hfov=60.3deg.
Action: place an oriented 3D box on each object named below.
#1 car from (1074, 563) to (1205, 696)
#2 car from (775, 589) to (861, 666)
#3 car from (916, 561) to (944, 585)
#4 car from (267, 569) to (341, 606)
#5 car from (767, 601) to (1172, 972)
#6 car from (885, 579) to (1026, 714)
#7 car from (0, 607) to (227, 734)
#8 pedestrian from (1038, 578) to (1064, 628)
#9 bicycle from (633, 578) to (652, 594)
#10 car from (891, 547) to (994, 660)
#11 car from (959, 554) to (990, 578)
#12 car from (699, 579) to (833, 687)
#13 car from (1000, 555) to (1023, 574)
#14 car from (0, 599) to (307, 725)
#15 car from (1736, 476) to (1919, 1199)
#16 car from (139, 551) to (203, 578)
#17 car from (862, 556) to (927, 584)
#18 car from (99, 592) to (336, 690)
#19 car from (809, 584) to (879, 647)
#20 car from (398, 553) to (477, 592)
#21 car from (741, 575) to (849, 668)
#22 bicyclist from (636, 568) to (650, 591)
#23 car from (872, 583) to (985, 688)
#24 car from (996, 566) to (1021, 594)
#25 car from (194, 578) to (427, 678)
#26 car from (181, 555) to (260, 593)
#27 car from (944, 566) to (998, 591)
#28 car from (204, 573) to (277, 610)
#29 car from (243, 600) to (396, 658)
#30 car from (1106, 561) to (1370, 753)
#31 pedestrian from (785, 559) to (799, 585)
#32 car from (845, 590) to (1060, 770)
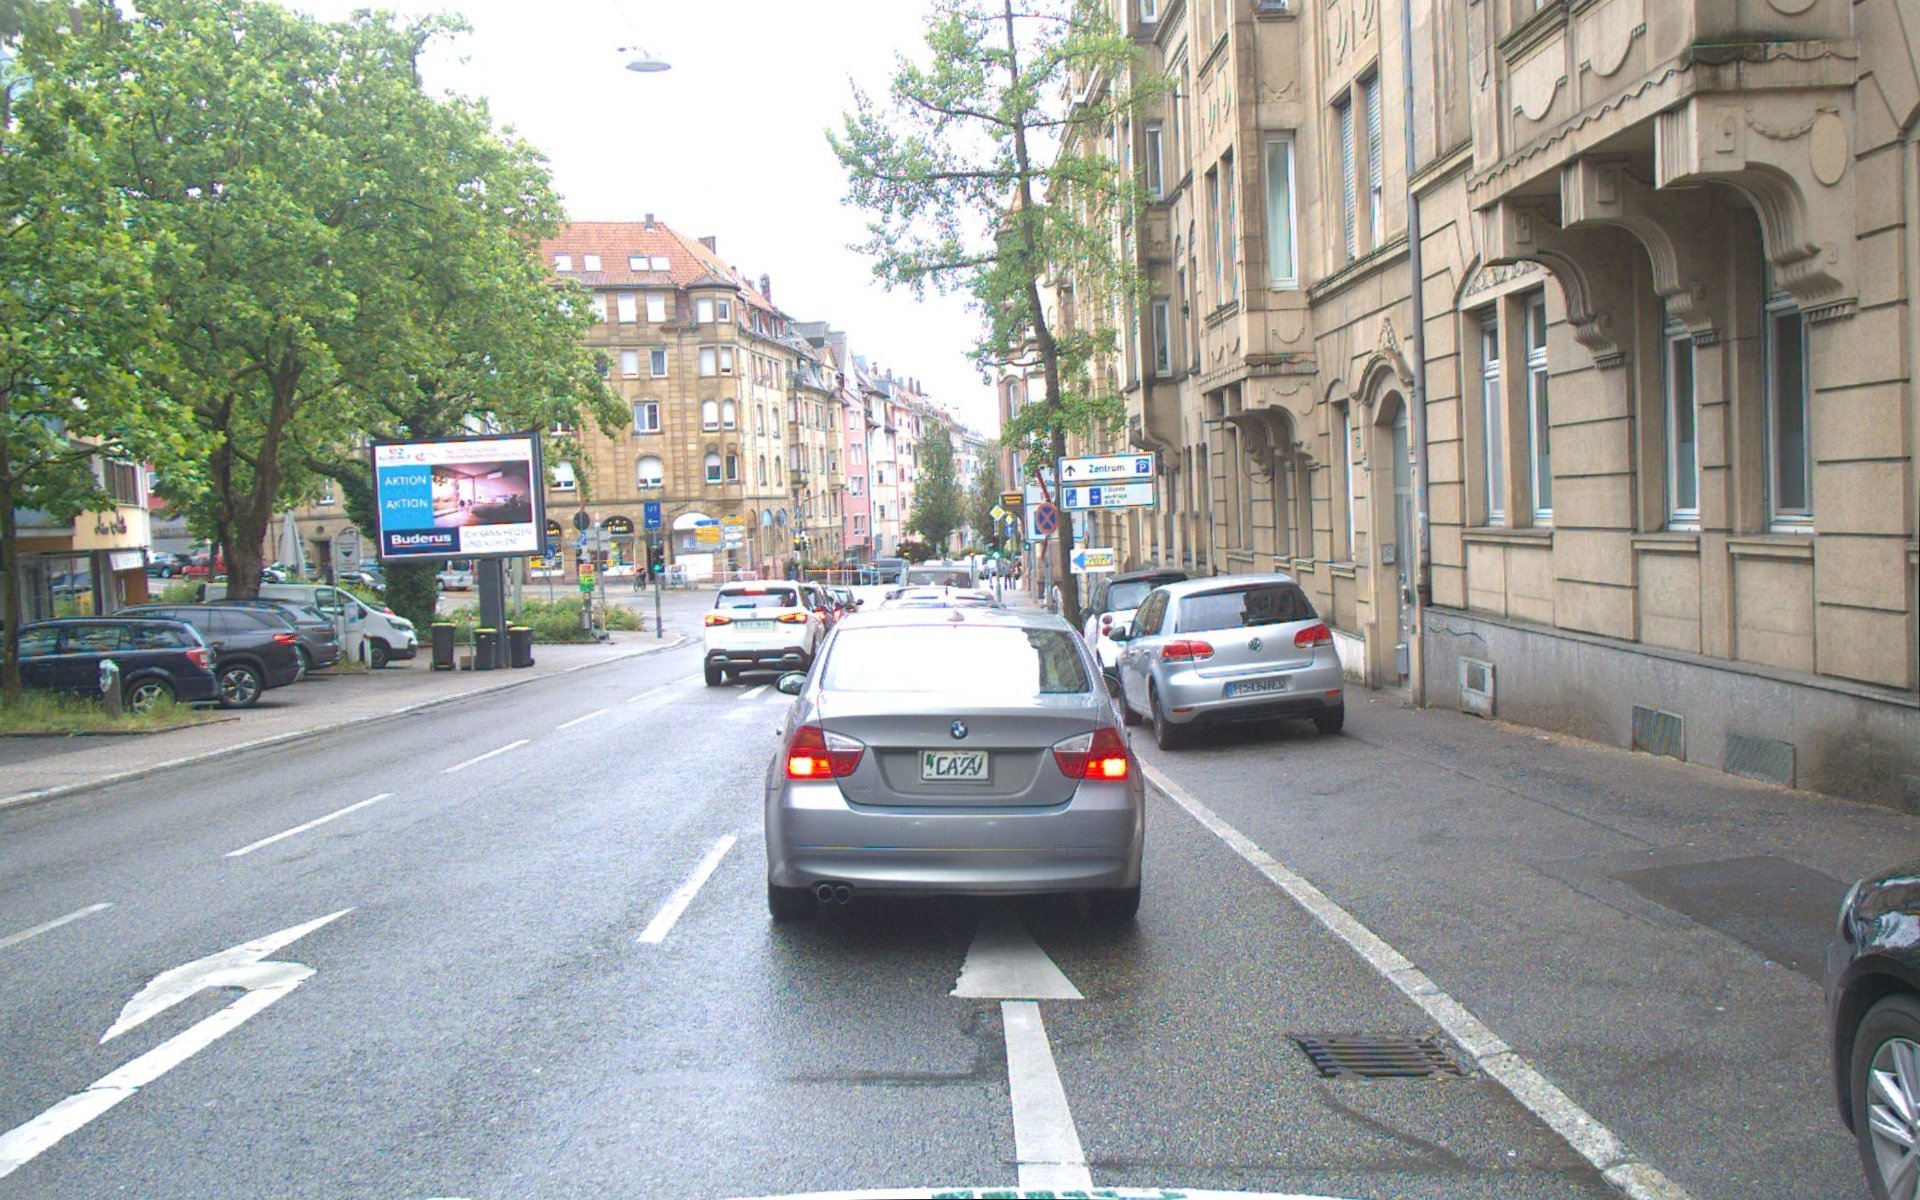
[{"bbox_3d":[2.405,0.359,22.685,1.273,1.569,2.975,-6,1,-1],"label":"car"},{"bbox_3d":[-3.417,0.620,40.411,1.723,1.737,4.000,-1,1,0],"label":"car"},{"bbox_3d":[-1.907,-1.691,104.730,1.680,1.476,3.741,-2,0,-1],"label":"car"},{"bbox_3d":[-40.373,-0.771,101.854,4.196,2.138,1.998,2,2,28],"label":"car"},{"bbox_3d":[0.049,0.741,8.373,1.590,1.407,3.615,-1,1,0],"label":"car"},{"bbox_3d":[-0.042,0.500,20.663,1.562,1.490,4.000,1,1,0],"label":"car"},{"bbox_3d":[-13.019,1.020,23.923,4.299,1.601,1.929,-3,1,-24],"label":"car"},{"bbox_3d":[2.888,0.093,52.645,0.618,1.534,0.693,-6,0,-2],"label":"pedestrian"},{"bbox_3d":[-18.436,-0.809,96.115,0.561,0.873,1.523,1,0,9],"label":"bicycle"},{"bbox_3d":[-0.358,0.057,33.337,1.953,2.143,3.999,0,0,-1],"label":"car"},{"bbox_3d":[1.099,-2.496,120.595,1.951,1.606,4.002,1,0,5],"label":"car"},{"bbox_3d":[-3.171,0.497,27.698,1.830,1.654,3.999,-1,0,-1],"label":"car"},{"bbox_3d":[3.643,-2.524,118.351,1.405,1.195,3.433,1,0,-2],"label":"car"},{"bbox_3d":[-12.921,0.945,26.719,4.308,1.701,1.842,-3,1,-24],"label":"car"},{"bbox_3d":[2.821,0.512,1.962,1.724,1.679,4.098,-6,1,0],"label":"car"},{"bbox_3d":[-51.032,-2.295,106.958,3.909,1.718,1.726,1,0,27],"label":"car"},{"bbox_3d":[-5.112,-2.345,129.887,5.072,2.049,2.698,1,0,-1],"label":"car"},{"bbox_3d":[-15.155,0.802,34.038,4.295,1.815,1.927,-2,0,-22],"label":"car"},{"bbox_3d":[-3.356,0.427,48.293,1.723,1.737,4.000,-1,1,0],"label":"car"},{"bbox_3d":[-30.390,-1.637,96.222,4.196,2.138,1.998,2,2,28],"label":"car"},{"bbox_3d":[-3.239,0.380,33.083,1.723,1.737,4.000,-1,1,0],"label":"car"},{"bbox_3d":[-18.439,-1.199,96.139,0.556,1.295,0.690,1,-1,11],"label":"bicyclist"},{"bbox_3d":[-0.475,0.523,27.407,1.723,1.594,4.000,-1,1,0],"label":"car"},{"bbox_3d":[3.739,-1.529,126.784,1.652,2.048,3.999,-3,1,-1],"label":"car"},{"bbox_3d":[-15.342,0.628,39.268,4.989,2.142,1.979,-2,0,-22],"label":"car"},{"bbox_3d":[-44.625,-1.573,99.823,3.902,2.048,2.002,-3,1,16],"label":"car"},{"bbox_3d":[0.780,-1.488,113.906,1.957,1.606,3.991,1,0,31],"label":"car"},{"bbox_3d":[-45.183,-0.544,103.854,4.196,2.138,1.998,2,2,28],"label":"car"},{"bbox_3d":[-17.978,0.794,46.540,3.916,1.475,1.757,-2,0,-22],"label":"car"},{"bbox_3d":[2.579,0.476,16.285,1.725,1.476,3.999,-6,1,-1],"label":"car"},{"bbox_3d":[-10.304,-1.714,101.298,0.716,1.605,0.528,-1,1,8],"label":"pedestrian"},{"bbox_3d":[-0.048,0.636,15.373,1.723,1.407,4.000,-1,1,0],"label":"car"}]
